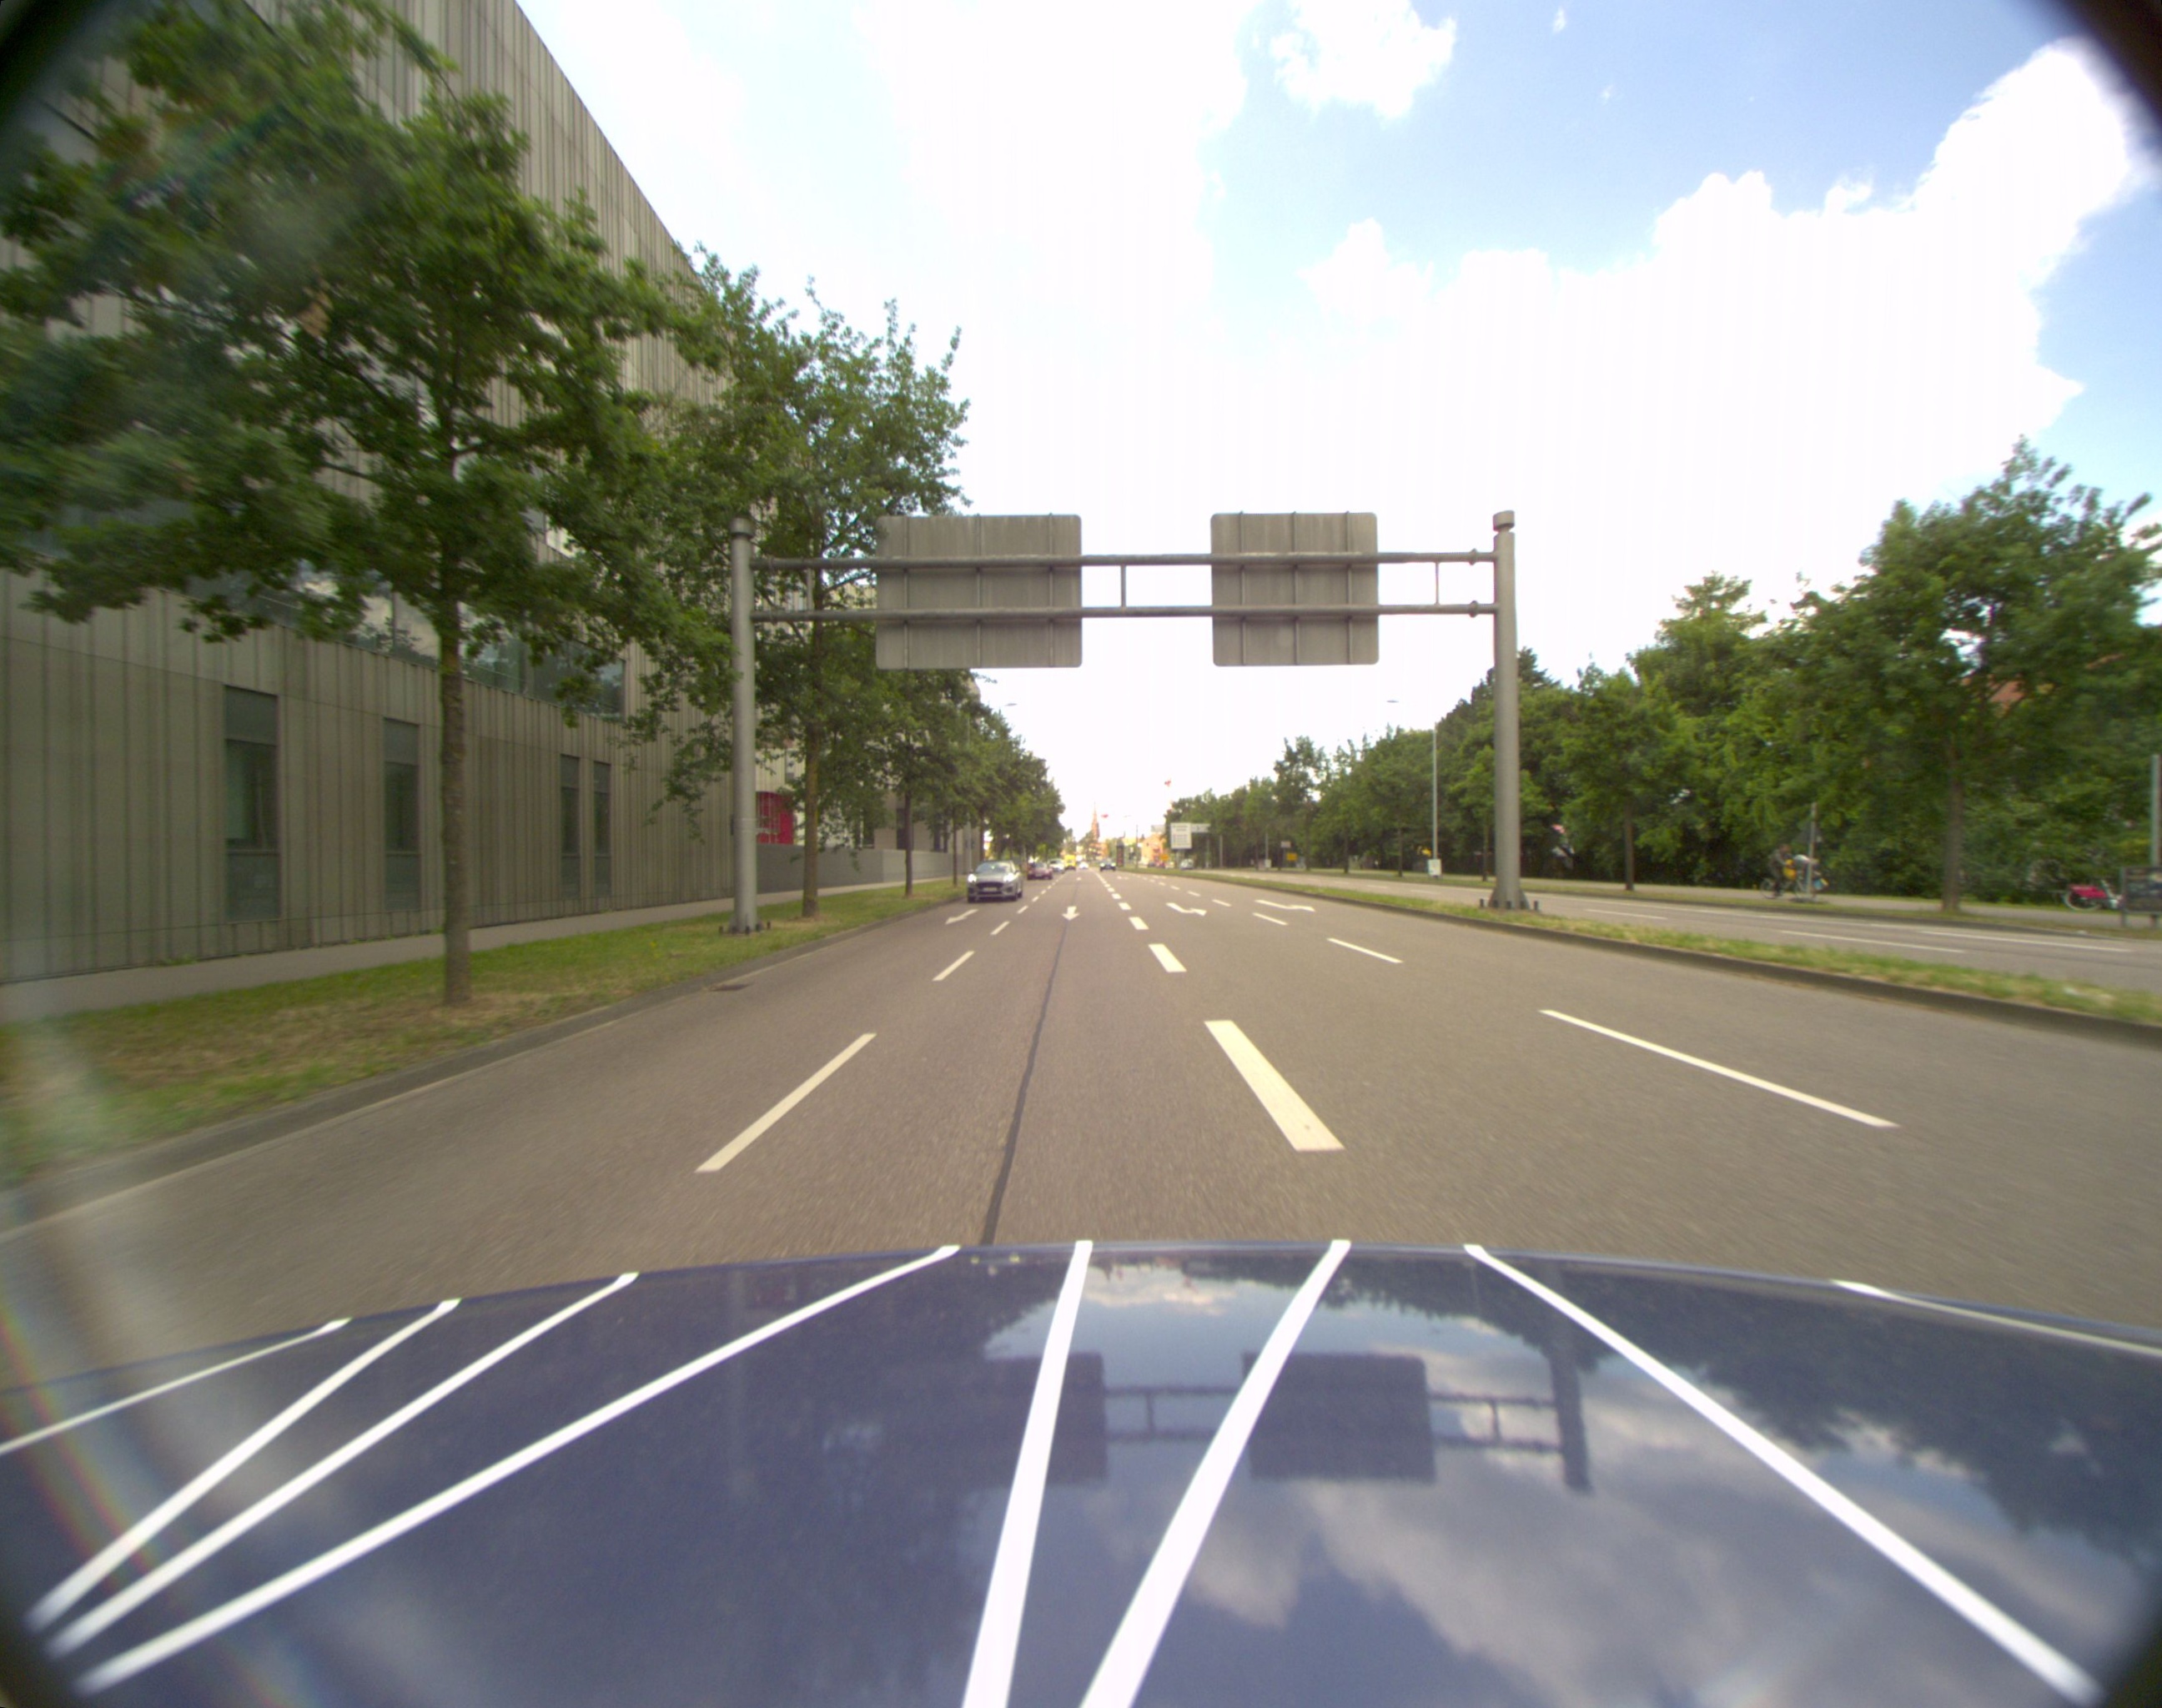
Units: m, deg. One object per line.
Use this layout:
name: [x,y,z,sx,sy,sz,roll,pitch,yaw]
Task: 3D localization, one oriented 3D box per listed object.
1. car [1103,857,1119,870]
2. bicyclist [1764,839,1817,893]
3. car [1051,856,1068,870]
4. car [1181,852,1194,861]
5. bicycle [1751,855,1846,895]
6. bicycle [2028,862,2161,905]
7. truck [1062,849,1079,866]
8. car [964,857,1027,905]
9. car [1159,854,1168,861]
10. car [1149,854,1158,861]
car: [3.539,1.119,90.742,1.782,1.487,3.598,-1,0,0]
bicyclist: [22.350,0.372,23.961,0.740,1.648,0.980,-1,1,-4]
car: [-2.311,0.998,82.947,1.713,1.487,3.650,-1,0,0]
car: [17.297,0.425,123.544,1.713,1.487,3.697,-1,0,1]
bicycle: [22.361,0.628,23.762,0.752,1.155,2.257,-1,0,-4]
bicycle: [25.653,0.716,19.159,0.665,1.009,2.143,-1,1,-44]
truck: [-1.984,0.635,143.094,3.066,3.095,7.934,-1,0,1]
car: [-3.137,0.960,28.703,1.823,1.565,3.954,-3,0,1]
car: [17.841,0.823,164.706,1.713,1.487,4.072,-1,0,1]
car: [17.742,0.875,186.168,1.713,1.487,4.072,-1,0,1]
